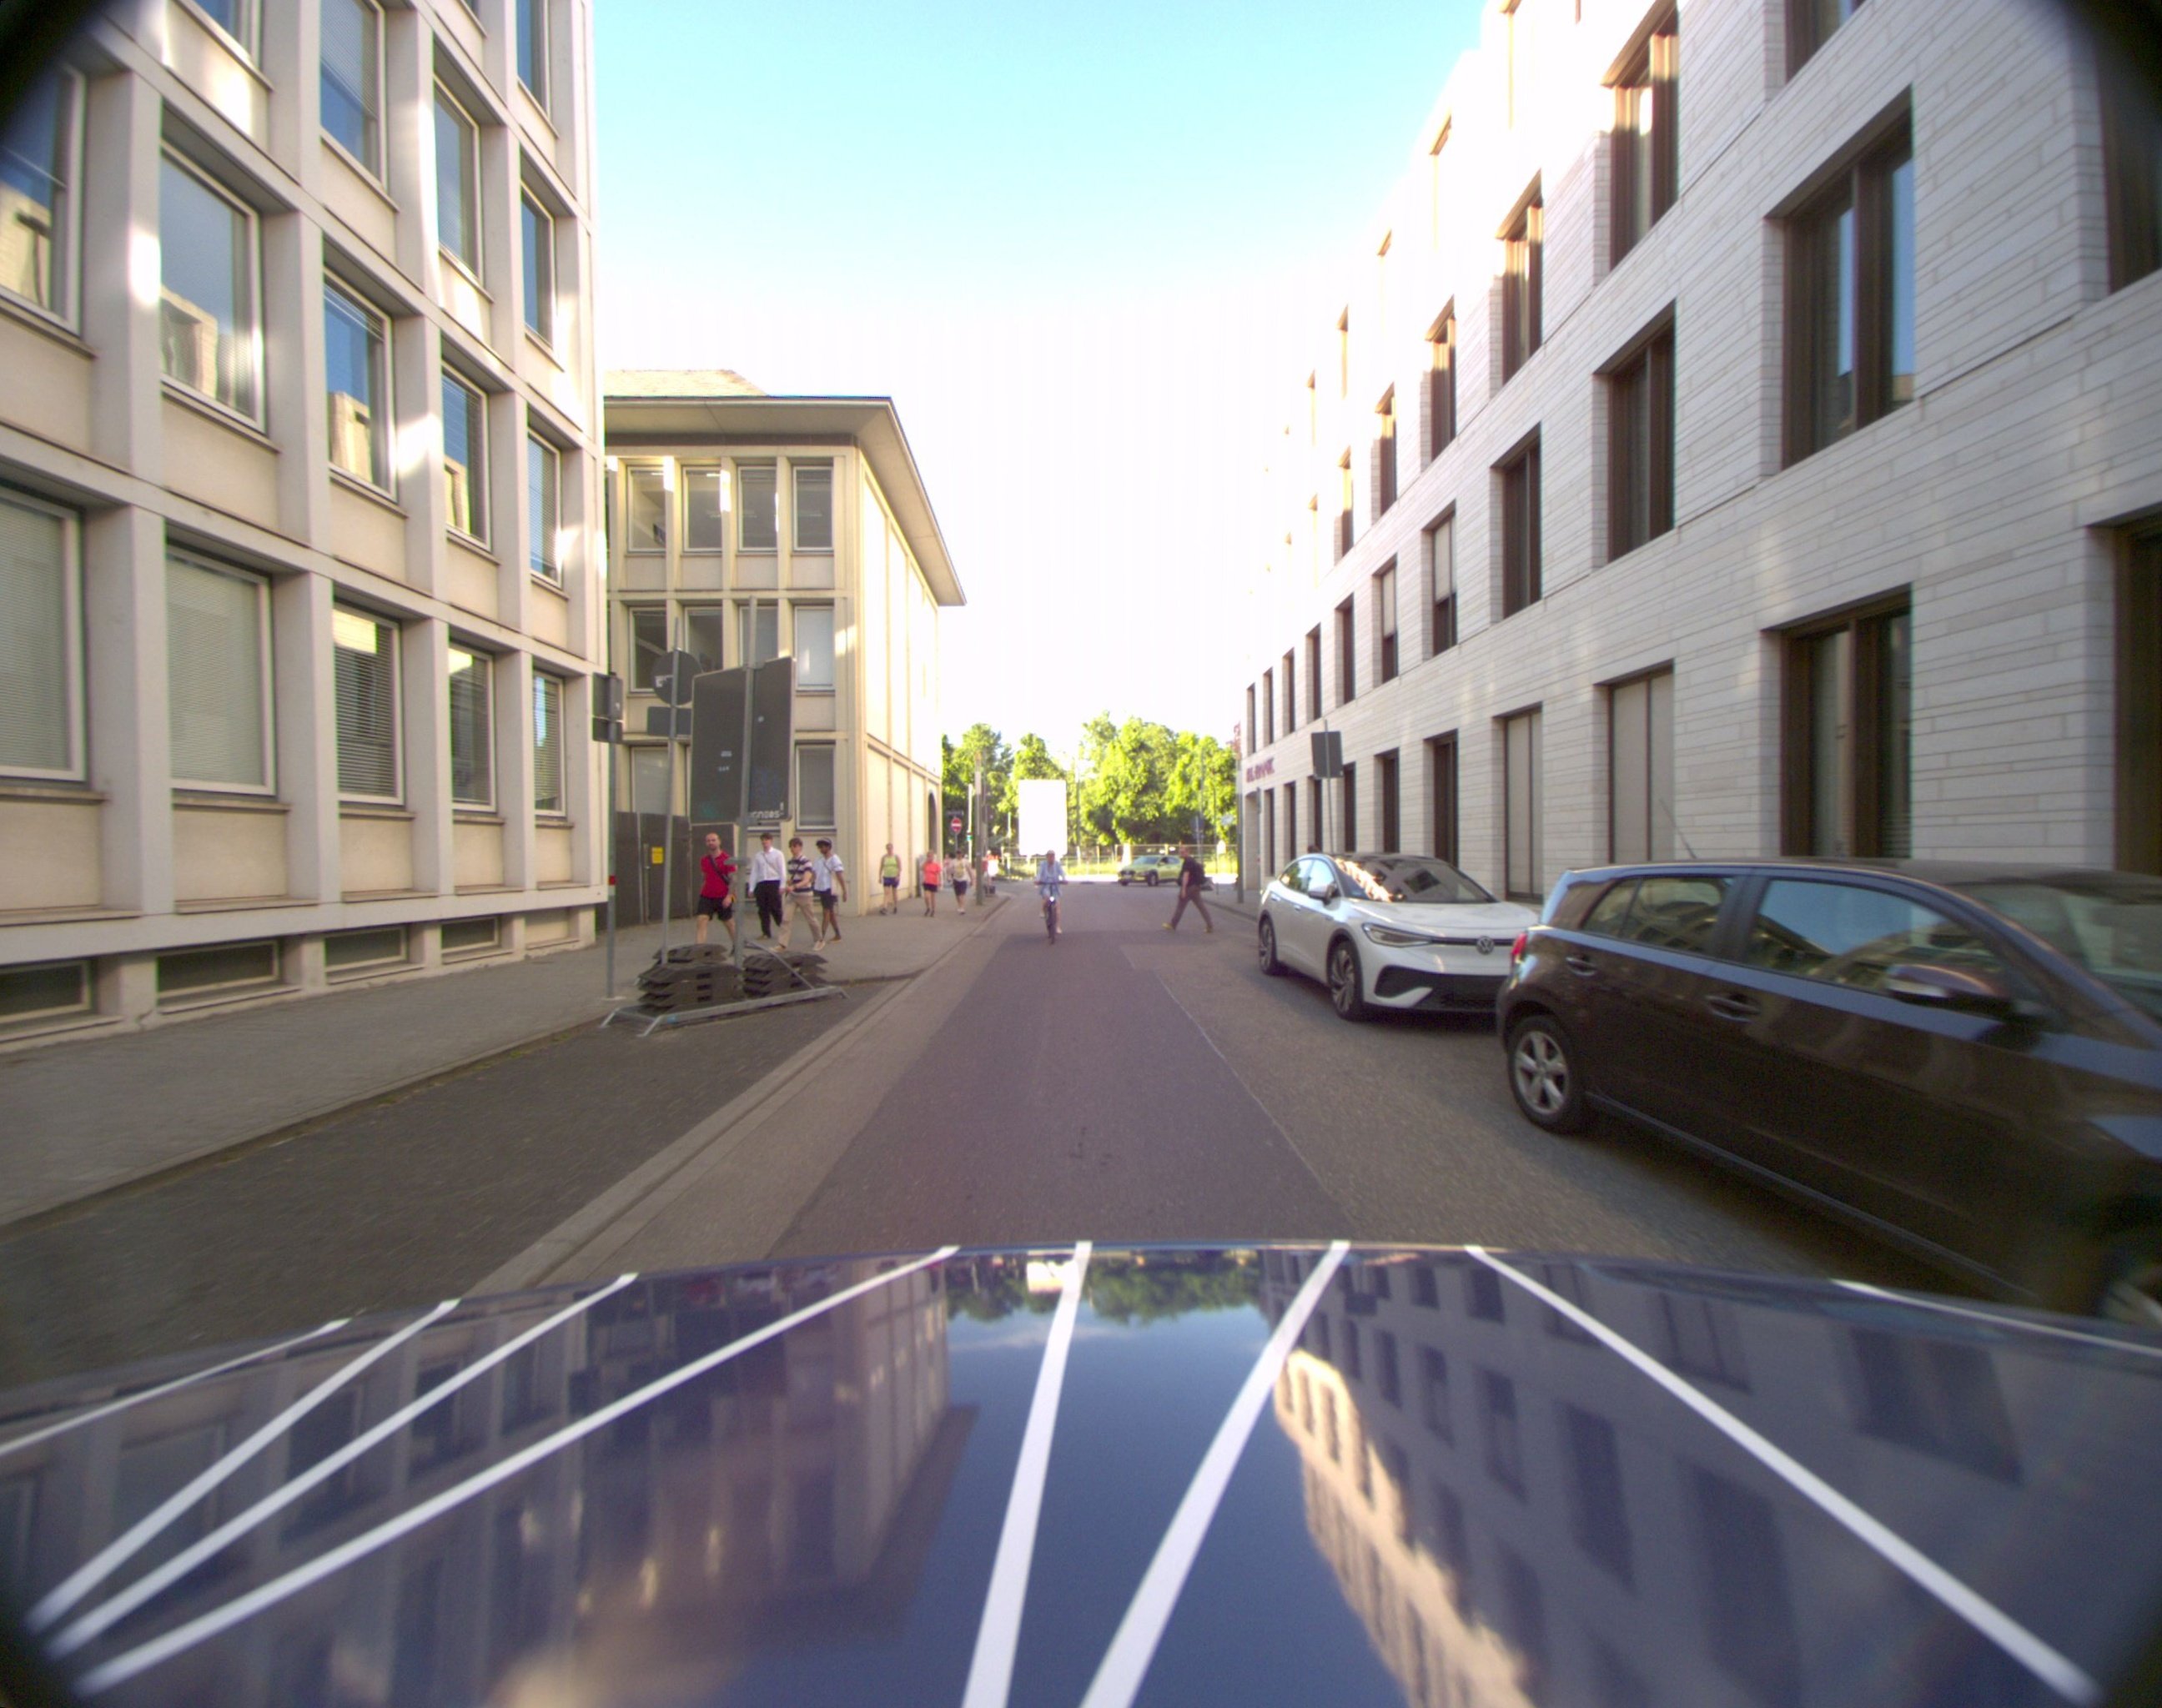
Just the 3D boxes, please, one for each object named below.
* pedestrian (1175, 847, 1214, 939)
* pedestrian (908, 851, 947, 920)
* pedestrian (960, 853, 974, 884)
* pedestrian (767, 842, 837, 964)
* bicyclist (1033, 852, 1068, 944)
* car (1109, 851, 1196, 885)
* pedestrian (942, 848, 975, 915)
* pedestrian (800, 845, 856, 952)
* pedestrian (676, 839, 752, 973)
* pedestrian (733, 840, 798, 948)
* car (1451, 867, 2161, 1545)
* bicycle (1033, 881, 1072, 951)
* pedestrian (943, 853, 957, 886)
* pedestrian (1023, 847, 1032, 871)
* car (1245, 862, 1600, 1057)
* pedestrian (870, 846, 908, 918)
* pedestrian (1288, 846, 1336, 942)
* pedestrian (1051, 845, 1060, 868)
[{"bbox_3d":[2.276,0.769,15.300,0.643,1.779,0.575,2,2,-1],"label":"pedestrian"},{"bbox_3d":[-3.755,0.762,18.622,0.685,1.627,0.693,4,1,1],"label":"pedestrian"},{"bbox_3d":[-5.999,0.743,40.006,0.626,1.604,0.623,-2,2,-7],"label":"pedestrian"},{"bbox_3d":[-4.286,0.736,11.728,0.685,1.768,0.693,5,1,1],"label":"pedestrian"},{"bbox_3d":[-0.573,0.815,14.293,0.586,1.679,0.538,-2,2,-5],"label":"bicyclist"},{"bbox_3d":[3.591,0.662,37.487,1.994,1.451,4.445,0,2,42],"label":"car"},{"bbox_3d":[-3.171,0.704,19.774,0.685,1.706,0.693,2,1,1],"label":"pedestrian"},{"bbox_3d":[-4.295,0.738,12.956,0.685,1.768,0.693,1,1,1],"label":"pedestrian"},{"bbox_3d":[-5.043,0.694,10.475,0.685,1.768,0.593,3,1,1],"label":"pedestrian"},{"bbox_3d":[-5.432,0.668,13.124,0.685,1.768,0.693,5,1,1],"label":"pedestrian"},{"bbox_3d":[3.433,0.864,2.929,1.827,1.532,4.263,-1,0,-2],"label":"car"},{"bbox_3d":[-0.566,1.112,14.323,0.595,1.077,2.309,-2,1,-5],"label":"bicycle"},{"bbox_3d":[-6.731,0.784,39.147,0.626,1.632,0.623,-2,2,-7],"label":"pedestrian"},{"bbox_3d":[-4.025,0.361,57.090,0.626,1.773,0.623,-2,2,-7],"label":"pedestrian"},{"bbox_3d":[3.246,0.879,8.369,1.827,1.532,4.446,1,0,-1],"label":"car"},{"bbox_3d":[-4.683,0.676,18.586,0.685,1.706,0.693,2,1,1],"label":"pedestrian"},{"bbox_3d":[4.442,0.739,14.641,0.645,1.779,0.816,-1,2,-1],"label":"pedestrian"},{"bbox_3d":[-2.009,0.208,59.905,0.623,1.773,0.626,-2,2,-7],"label":"pedestrian"}]
